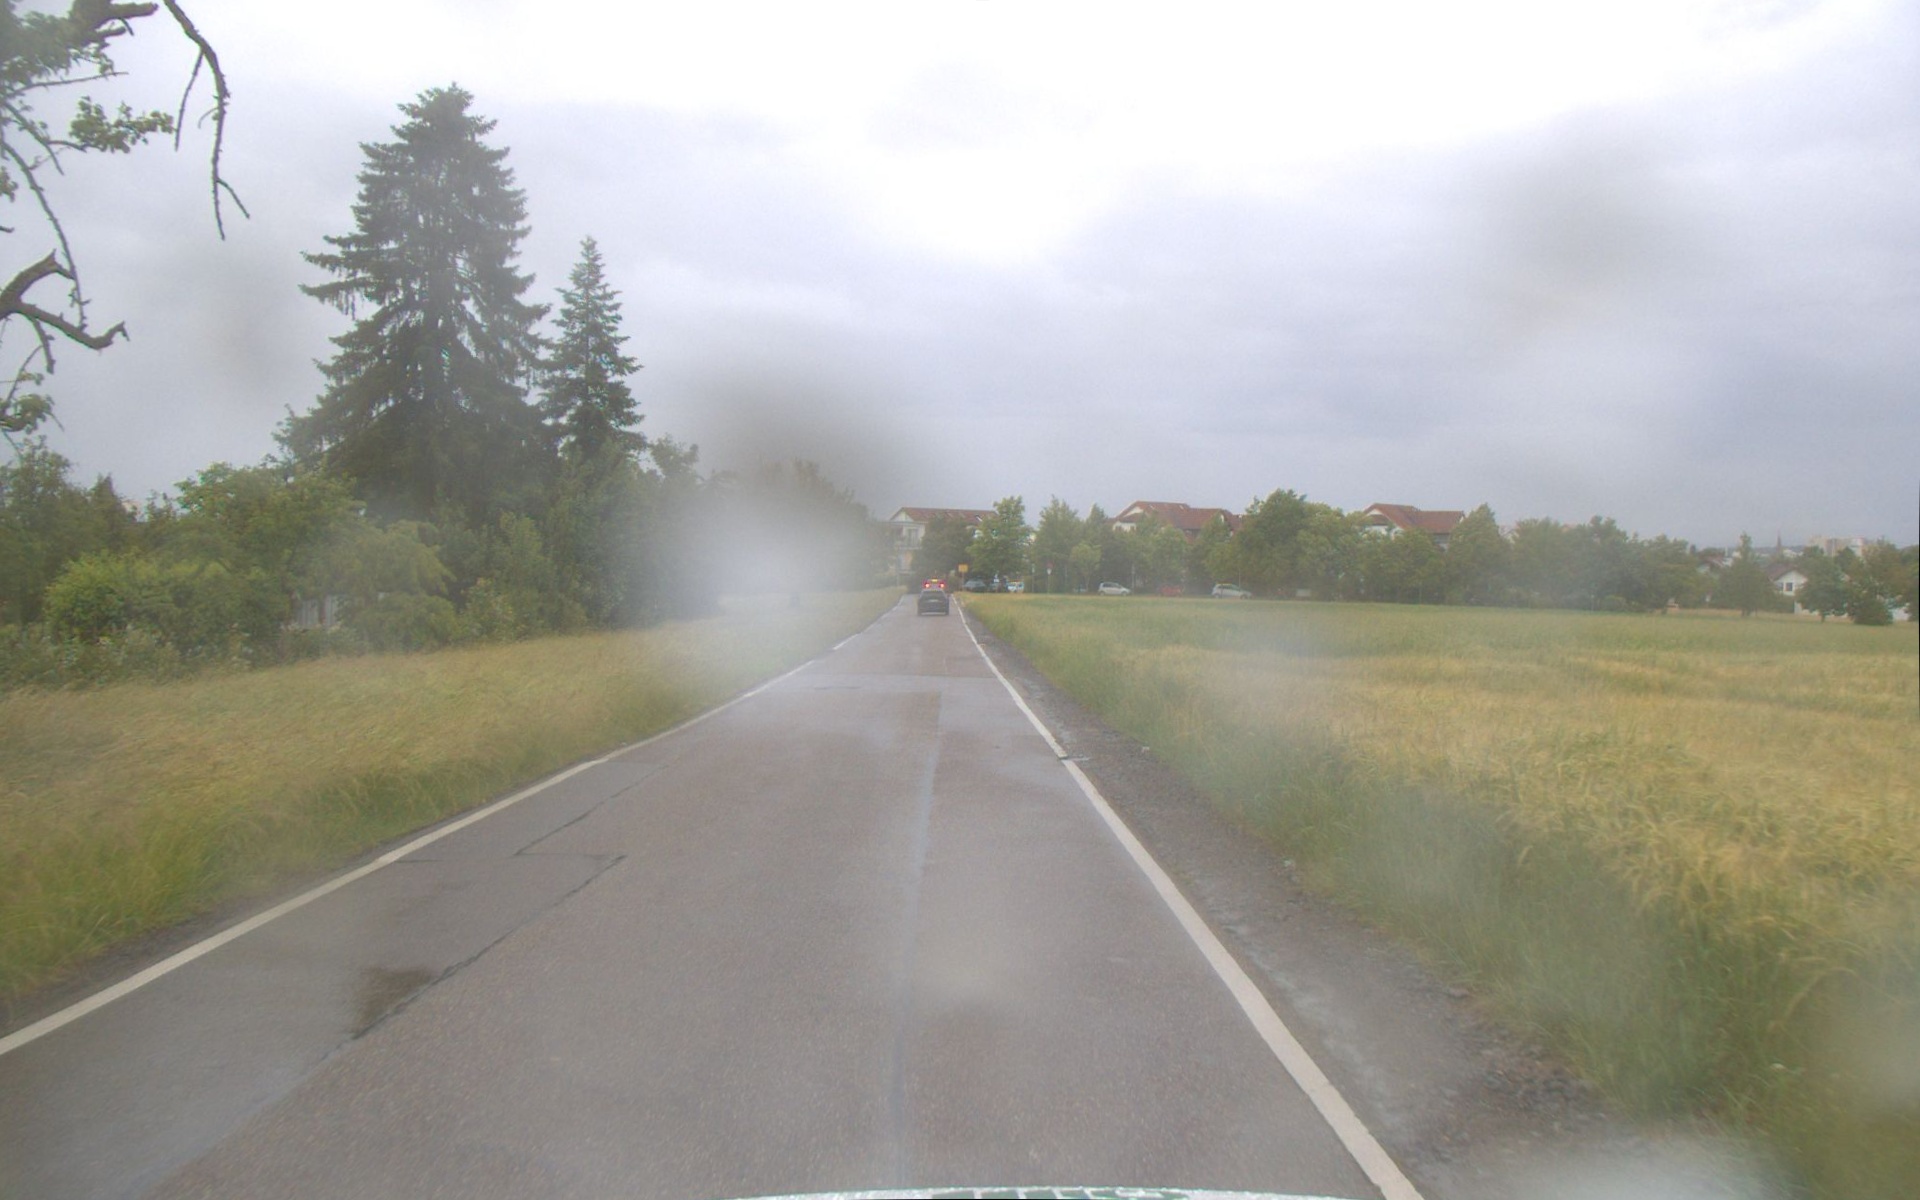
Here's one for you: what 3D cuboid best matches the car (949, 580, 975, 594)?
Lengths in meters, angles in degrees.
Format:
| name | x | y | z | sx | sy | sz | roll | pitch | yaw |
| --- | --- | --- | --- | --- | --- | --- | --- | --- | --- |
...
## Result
| name | x | y | z | sx | sy | sz | roll | pitch | yaw |
| --- | --- | --- | --- | --- | --- | --- | --- | --- | --- |
| car | 0.225 | -1.571 | 198.695 | 1.627 | 1.573 | 3.998 | 0 | -1 | 24 |

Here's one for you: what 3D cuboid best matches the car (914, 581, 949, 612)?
| name | x | y | z | sx | sy | sz | roll | pitch | yaw |
| --- | --- | --- | --- | --- | --- | --- | --- | --- | --- |
| car | -1.542 | -0.152 | 90.940 | 1.777 | 1.622 | 4.000 | 0 | -1 | 0 |

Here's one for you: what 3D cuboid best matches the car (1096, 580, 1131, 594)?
| name | x | y | z | sx | sy | sz | roll | pitch | yaw |
| --- | --- | --- | --- | --- | --- | --- | --- | --- | --- |
| car | 15.800 | -1.354 | 170.213 | 3.317 | 1.395 | 1.549 | 0 | -1 | 12 |

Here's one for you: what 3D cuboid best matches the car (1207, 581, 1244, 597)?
| name | x | y | z | sx | sy | sz | roll | pitch | yaw |
| --- | --- | --- | --- | --- | --- | --- | --- | --- | --- |
| car | 26.905 | -1.075 | 167.581 | 3.630 | 1.591 | 1.611 | 0 | -1 | 12 |

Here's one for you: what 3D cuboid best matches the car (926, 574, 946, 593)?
| name | x | y | z | sx | sy | sz | roll | pitch | yaw |
| --- | --- | --- | --- | --- | --- | --- | --- | --- | --- |
| car | -2.210 | -1.507 | 152.236 | 1.777 | 1.622 | 4.000 | 0 | -1 | 0 |

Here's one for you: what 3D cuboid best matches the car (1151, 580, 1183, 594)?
| name | x | y | z | sx | sy | sz | roll | pitch | yaw |
| --- | --- | --- | --- | --- | --- | --- | --- | --- | --- |
| car | 21.218 | -1.325 | 169.206 | 3.124 | 1.395 | 1.573 | 0 | -1 | 12 |

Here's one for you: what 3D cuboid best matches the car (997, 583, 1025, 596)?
| name | x | y | z | sx | sy | sz | roll | pitch | yaw |
| --- | --- | --- | --- | --- | --- | --- | --- | --- | --- |
| car | 6.478 | -1.330 | 208.371 | 1.632 | 1.573 | 3.986 | 0 | -1 | 35 |

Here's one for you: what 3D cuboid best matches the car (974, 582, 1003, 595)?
| name | x | y | z | sx | sy | sz | roll | pitch | yaw |
| --- | --- | --- | --- | --- | --- | --- | --- | --- | --- |
| car | 3.550 | -1.411 | 204.064 | 1.632 | 1.573 | 3.986 | 0 | -1 | 35 |
